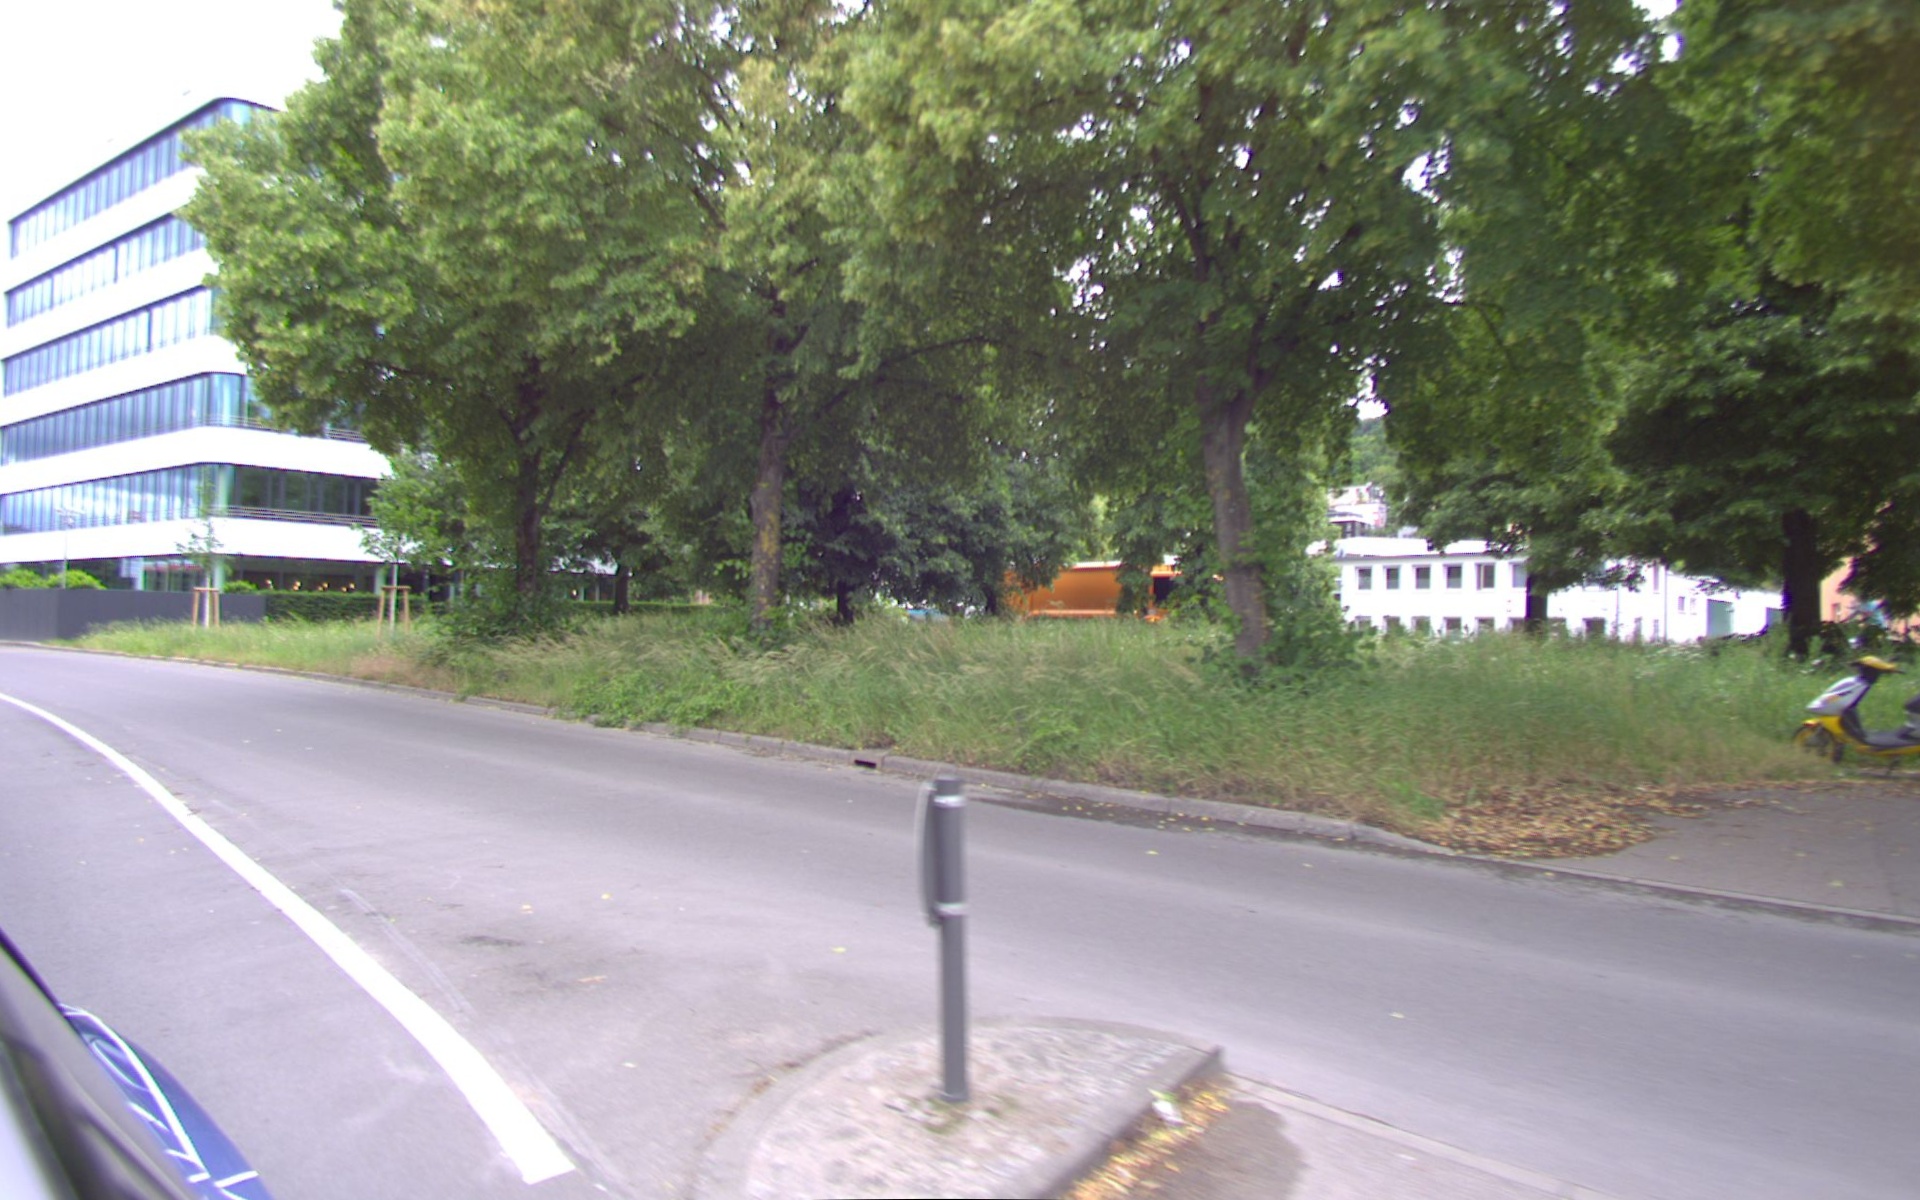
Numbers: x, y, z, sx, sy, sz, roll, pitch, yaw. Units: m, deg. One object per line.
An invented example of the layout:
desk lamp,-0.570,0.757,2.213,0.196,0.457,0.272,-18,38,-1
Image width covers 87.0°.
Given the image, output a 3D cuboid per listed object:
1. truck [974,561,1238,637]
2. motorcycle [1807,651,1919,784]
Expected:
truck,5.255,0.096,38.746,10.251,2.541,2.940,-1,-3,44
motorcycle,9.000,1.069,9.126,2.036,1.177,0.559,-1,-4,44
